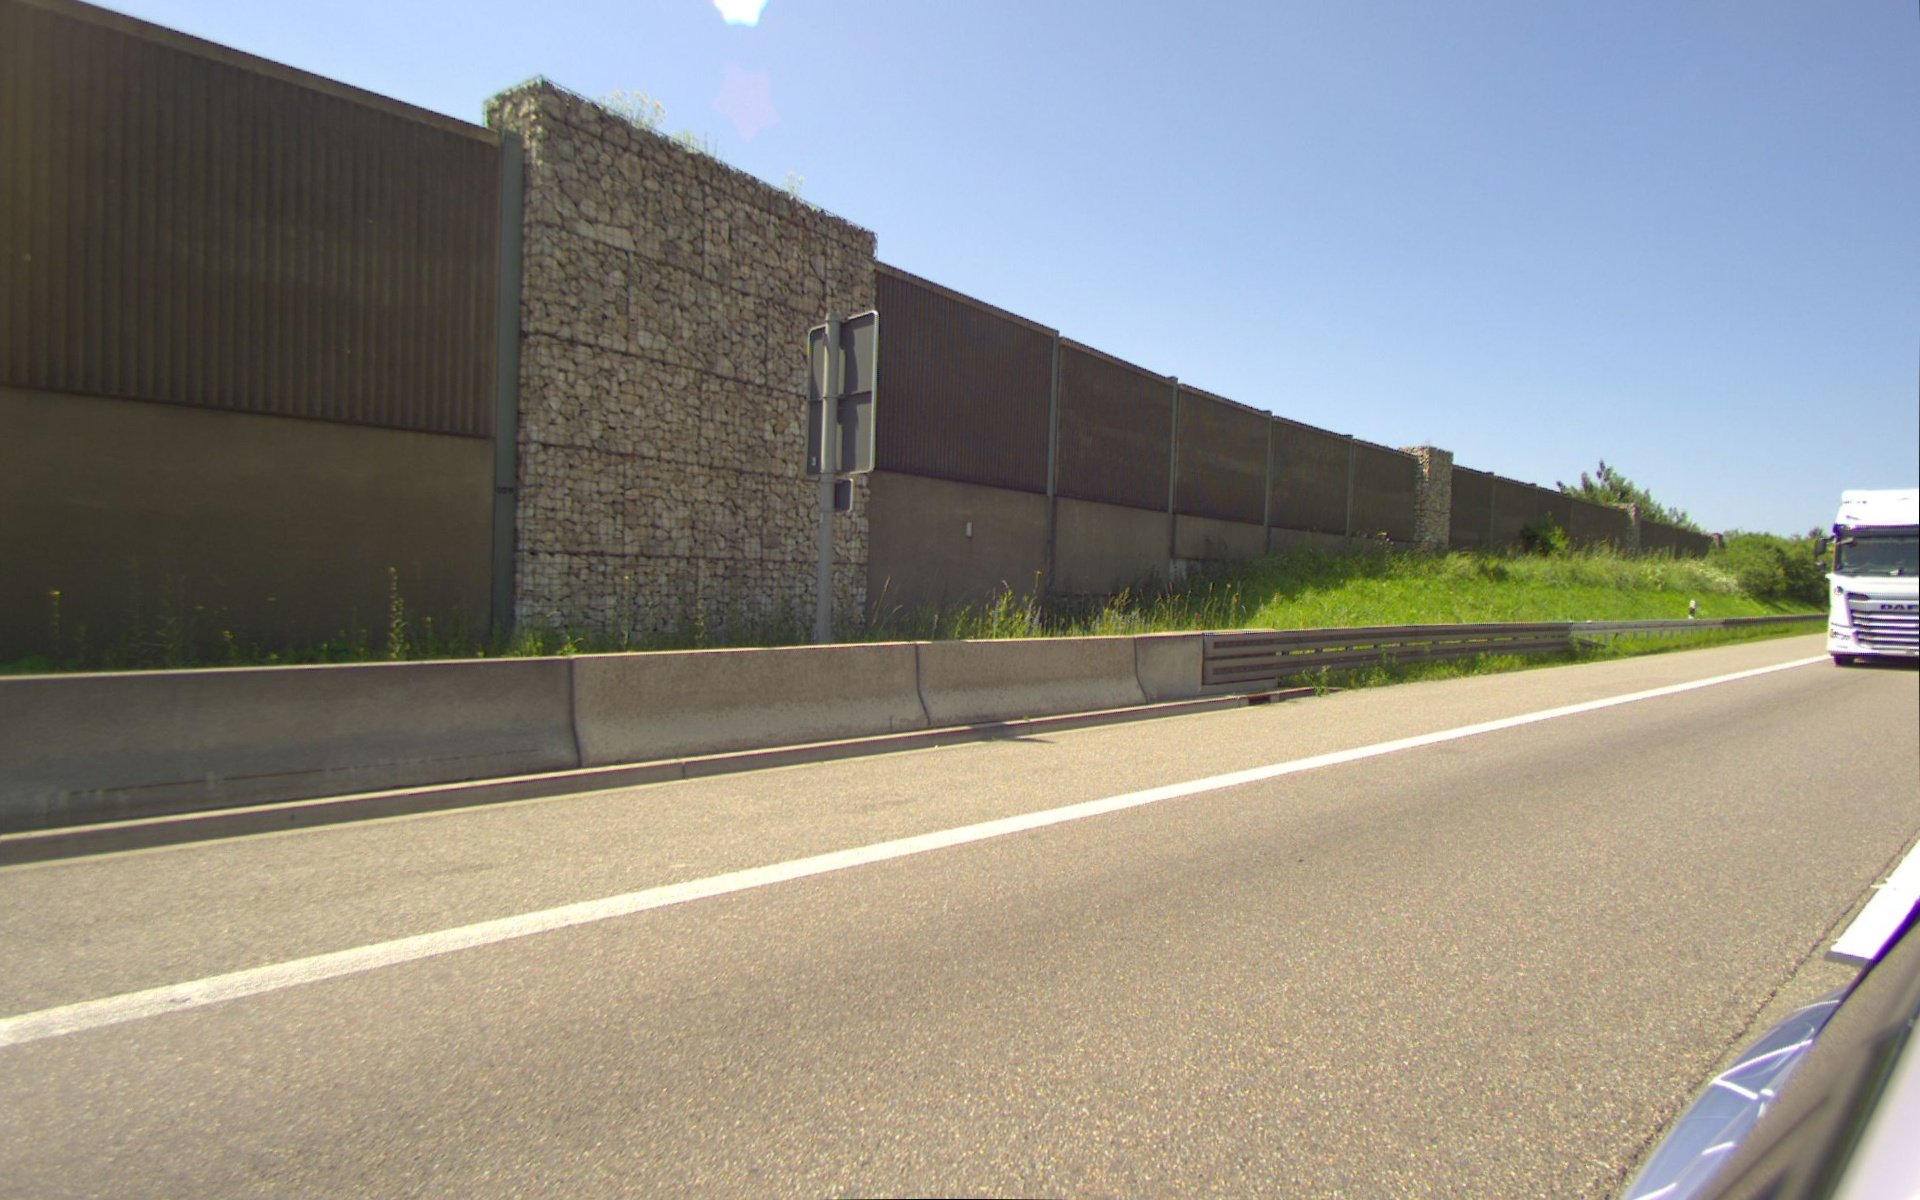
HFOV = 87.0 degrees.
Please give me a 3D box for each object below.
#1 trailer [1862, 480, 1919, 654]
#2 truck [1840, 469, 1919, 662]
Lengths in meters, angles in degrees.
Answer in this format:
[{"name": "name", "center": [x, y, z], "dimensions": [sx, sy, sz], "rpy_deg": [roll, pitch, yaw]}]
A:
[{"name": "trailer", "center": [27.384, -0.801, 27.857], "dimensions": [13.423, 4.027, 2.481], "rpy_deg": [0, 1, -43]}, {"name": "truck", "center": [22.351, -0.745, 23.271], "dimensions": [6.273, 4.027, 2.481], "rpy_deg": [0, 1, -43]}]
